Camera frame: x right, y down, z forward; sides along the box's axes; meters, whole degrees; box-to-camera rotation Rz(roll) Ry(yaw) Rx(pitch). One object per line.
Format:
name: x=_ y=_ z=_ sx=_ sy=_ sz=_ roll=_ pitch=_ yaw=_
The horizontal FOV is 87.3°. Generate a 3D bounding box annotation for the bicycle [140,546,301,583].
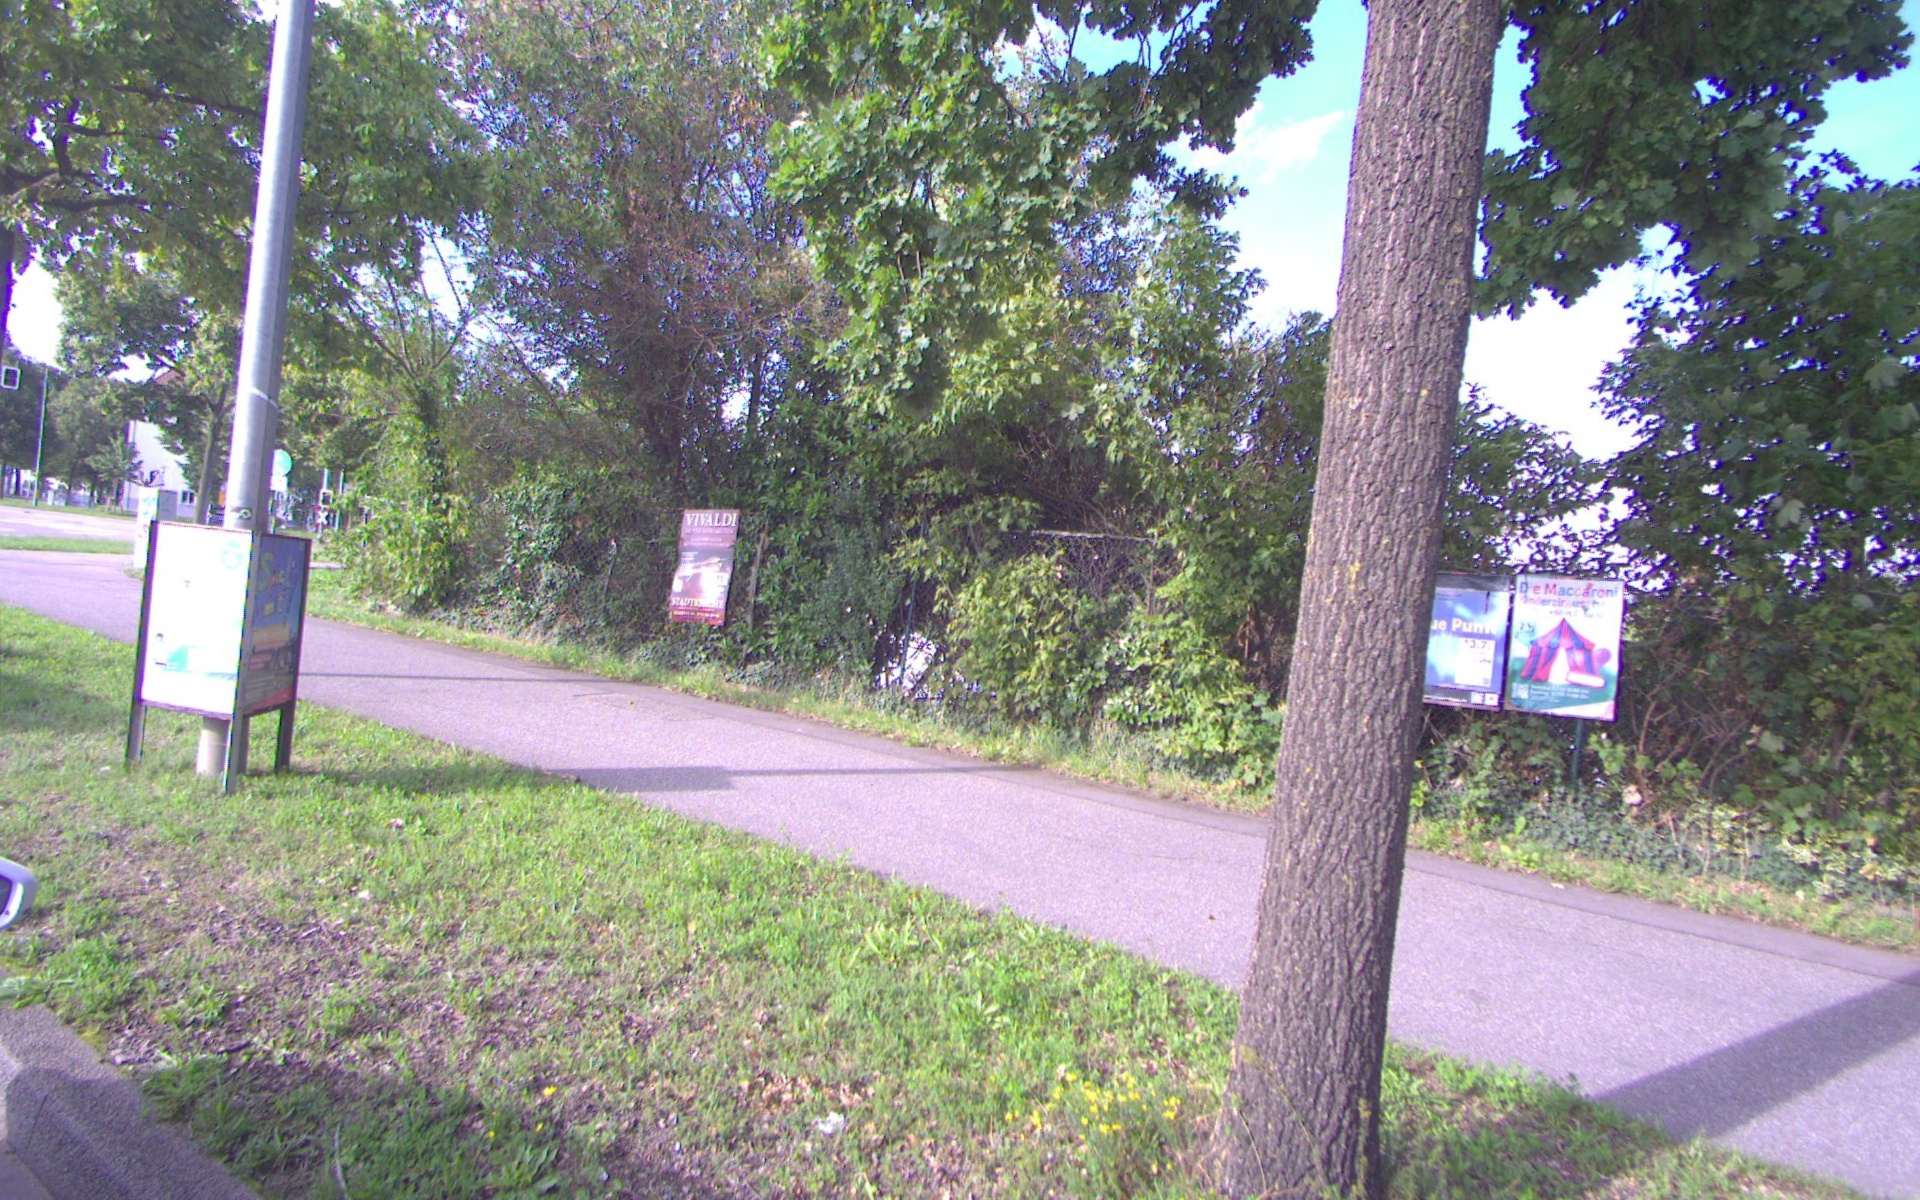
bicycle: x=-14.685 y=-0.704 z=19.999 sx=2.529 sy=0.390 sz=1.411 roll=7 pitch=0 yaw=21

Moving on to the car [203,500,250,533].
car: x=-43.400 y=-4.951 z=59.517 sx=3.155 sy=1.593 sz=1.567 roll=8 pitch=1 yaw=43
